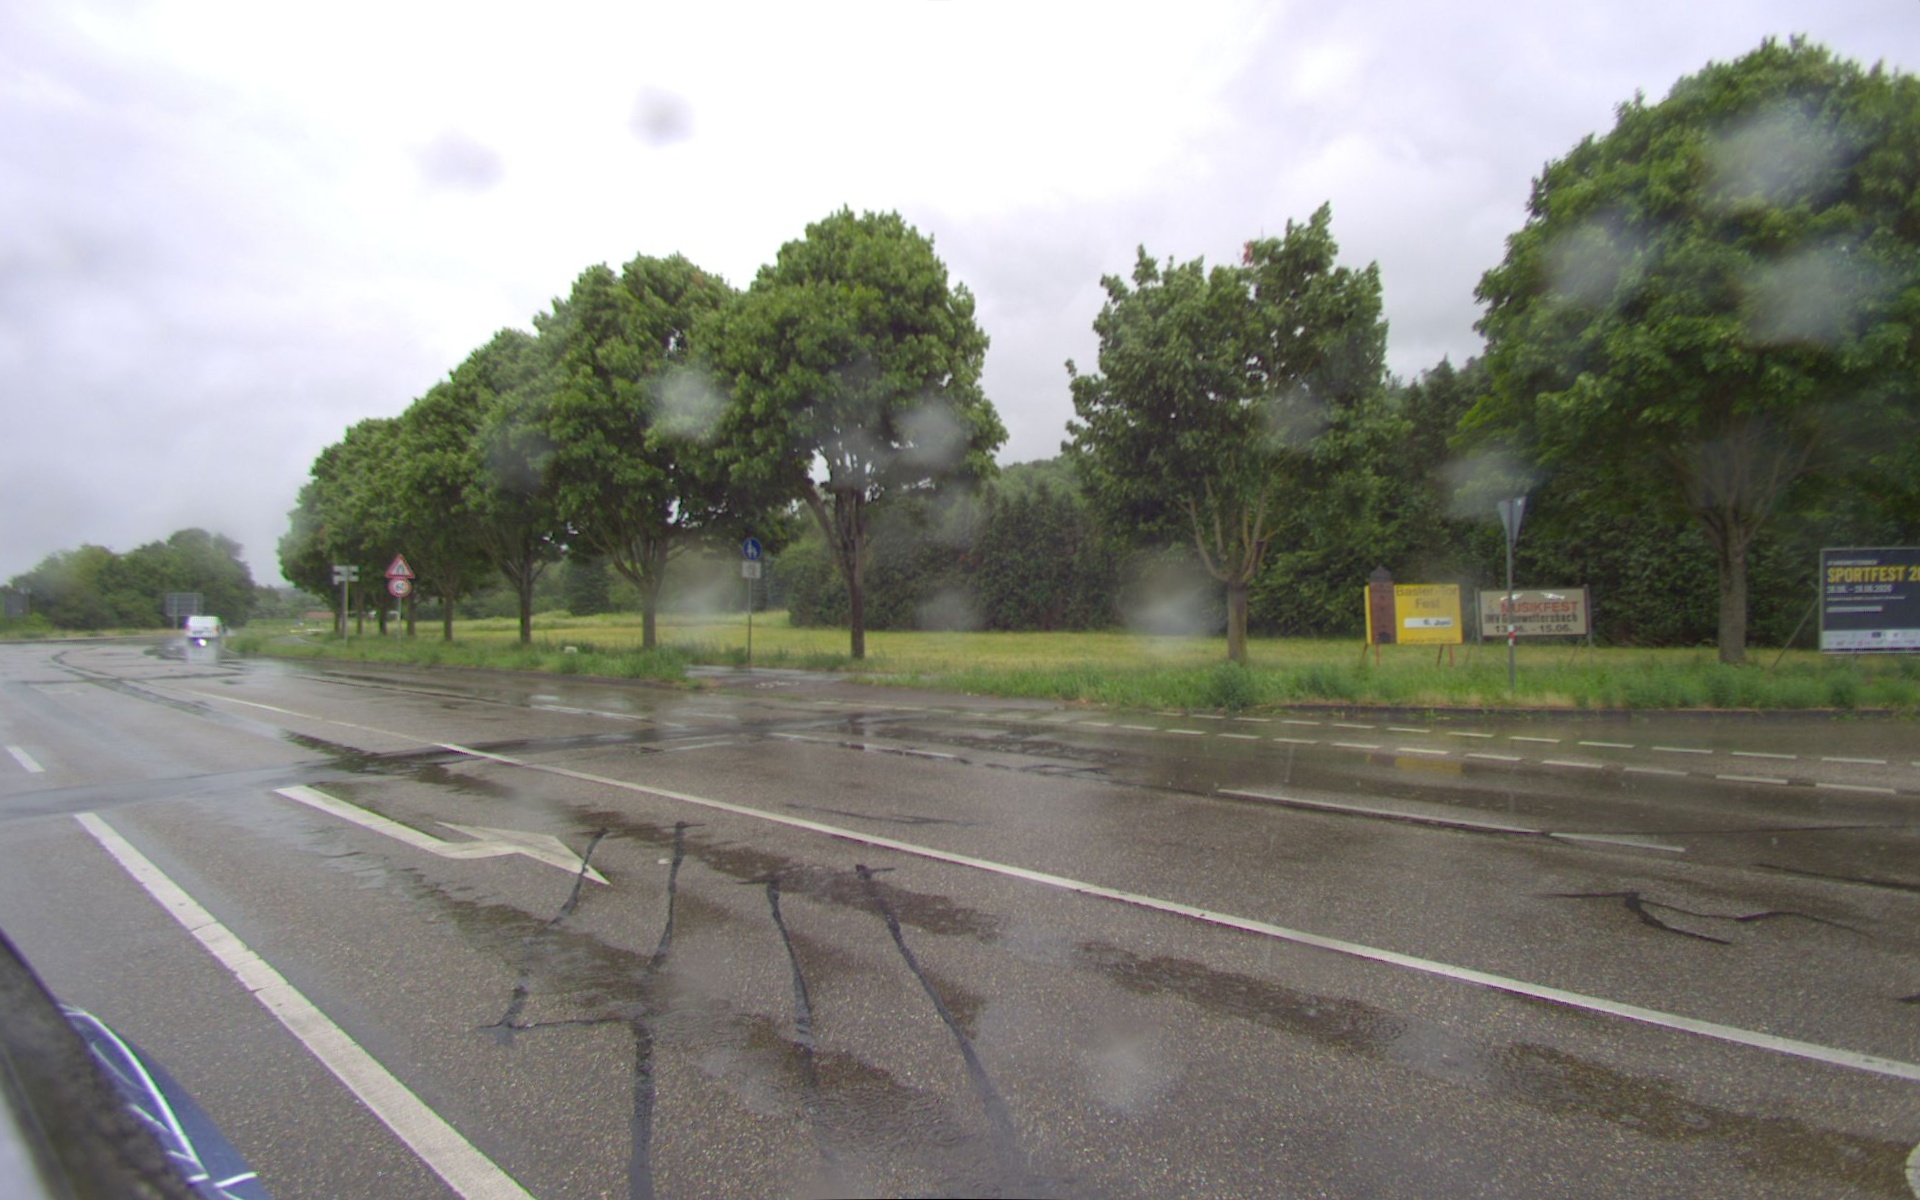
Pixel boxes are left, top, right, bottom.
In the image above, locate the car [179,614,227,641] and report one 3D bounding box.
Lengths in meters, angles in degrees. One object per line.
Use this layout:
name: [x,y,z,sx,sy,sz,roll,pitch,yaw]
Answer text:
car: [-55.293,1.985,74.017,2.077,1.907,4.806,0,-1,-28]
